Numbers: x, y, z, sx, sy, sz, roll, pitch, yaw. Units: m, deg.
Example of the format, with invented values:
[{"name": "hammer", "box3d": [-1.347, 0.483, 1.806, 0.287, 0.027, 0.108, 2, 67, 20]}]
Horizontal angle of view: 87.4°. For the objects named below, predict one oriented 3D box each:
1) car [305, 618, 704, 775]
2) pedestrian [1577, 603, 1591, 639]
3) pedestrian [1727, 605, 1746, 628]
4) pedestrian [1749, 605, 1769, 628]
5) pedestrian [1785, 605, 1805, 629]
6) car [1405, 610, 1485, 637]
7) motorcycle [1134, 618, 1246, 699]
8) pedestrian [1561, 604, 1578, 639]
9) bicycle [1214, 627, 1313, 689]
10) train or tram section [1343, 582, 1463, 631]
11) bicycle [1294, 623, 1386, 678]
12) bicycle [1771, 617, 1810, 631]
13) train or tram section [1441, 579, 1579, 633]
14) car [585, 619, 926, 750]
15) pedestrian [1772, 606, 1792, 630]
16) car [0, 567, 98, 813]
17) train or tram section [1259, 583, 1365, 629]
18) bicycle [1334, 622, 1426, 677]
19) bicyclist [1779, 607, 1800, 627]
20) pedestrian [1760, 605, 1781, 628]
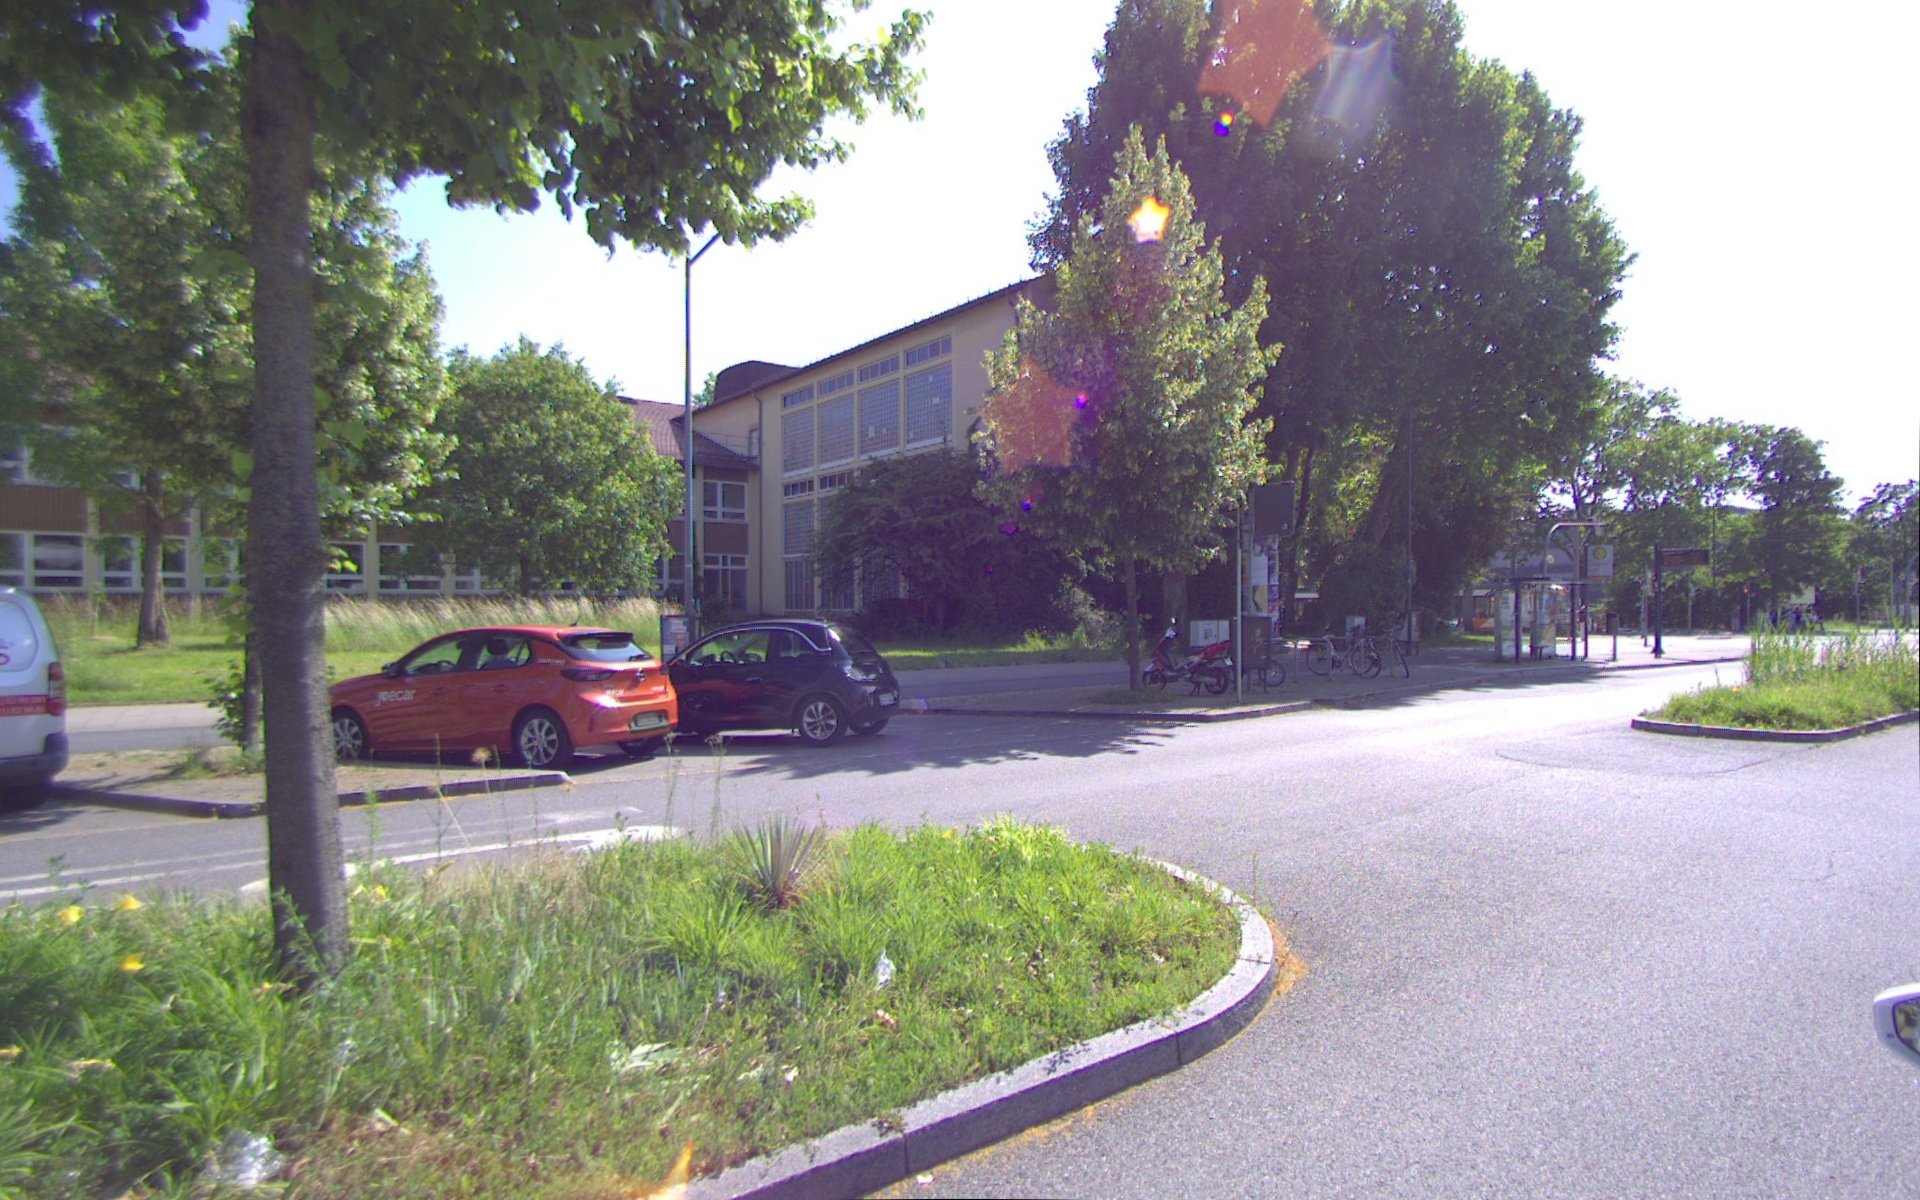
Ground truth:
[{"name": "car", "box3d": [-4.863, 0.931, 10.818, 3.766, 1.442, 1.716, 0, 0, 19]}, {"name": "pedestrian", "box3d": [30.796, 1.046, 49.574, 0.559, 1.749, 0.731, -1, -1, 36]}, {"name": "pedestrian", "box3d": [54.572, 1.154, 70.584, 0.925, 1.633, 0.655, 0, 0, -13]}, {"name": "pedestrian", "box3d": [55.579, 1.147, 69.905, 0.925, 1.633, 0.655, 0, 0, -13]}, {"name": "pedestrian", "box3d": [56.944, 1.137, 68.495, 0.925, 1.633, 0.666, 0, 0, -13]}, {"name": "car", "box3d": [25.542, 1.210, 52.955, 1.623, 1.395, 3.472, 0, -1, -38]}, {"name": "motorcycle", "box3d": [3.923, 0.967, 17.265, 0.688, 1.301, 1.828, 0, 0, -42]}, {"name": "pedestrian", "box3d": [30.286, 1.075, 49.942, 0.650, 1.749, 0.750, -1, -1, 36]}, {"name": "bicycle", "box3d": [5.865, 1.095, 19.505, 0.686, 1.106, 1.834, 0, 0, -34]}, {"name": "train or tram section", "box3d": [32.027, 0.464, 72.900, 3.090, 3.376, 7.501, 0, -1, -37]}, {"name": "bicycle", "box3d": [8.314, 1.082, 22.034, 0.686, 1.121, 1.834, 0, 0, -34]}, {"name": "bicycle", "box3d": [55.360, 1.581, 66.997, 1.979, 0.895, 0.524, 0, 0, 45]}, {"name": "train or tram section", "box3d": [36.499, 0.404, 66.874, 3.090, 3.376, 7.501, 0, -1, -37]}, {"name": "car", "box3d": [-2.460, 0.987, 12.450, 3.698, 1.442, 1.857, -1, -2, 14]}, {"name": "pedestrian", "box3d": [55.822, 1.211, 68.202, 0.925, 1.633, 0.655, 0, 0, -13]}, {"name": "car", "box3d": [-8.826, 0.655, 7.789, 3.702, 1.795, 1.818, 0, 0, 23]}, {"name": "train or tram section", "box3d": [27.554, 0.488, 78.951, 3.090, 3.376, 7.501, 0, -1, -37]}, {"name": "bicycle", "box3d": [9.445, 1.091, 22.650, 0.686, 1.137, 1.834, 0, 0, -34]}, {"name": "bicyclist", "box3d": [55.362, 1.130, 67.005, 1.041, 1.292, 0.489, 0, 0, 45]}, {"name": "pedestrian", "box3d": [55.975, 1.142, 69.369, 0.925, 1.633, 0.655, 0, 0, -13]}]
